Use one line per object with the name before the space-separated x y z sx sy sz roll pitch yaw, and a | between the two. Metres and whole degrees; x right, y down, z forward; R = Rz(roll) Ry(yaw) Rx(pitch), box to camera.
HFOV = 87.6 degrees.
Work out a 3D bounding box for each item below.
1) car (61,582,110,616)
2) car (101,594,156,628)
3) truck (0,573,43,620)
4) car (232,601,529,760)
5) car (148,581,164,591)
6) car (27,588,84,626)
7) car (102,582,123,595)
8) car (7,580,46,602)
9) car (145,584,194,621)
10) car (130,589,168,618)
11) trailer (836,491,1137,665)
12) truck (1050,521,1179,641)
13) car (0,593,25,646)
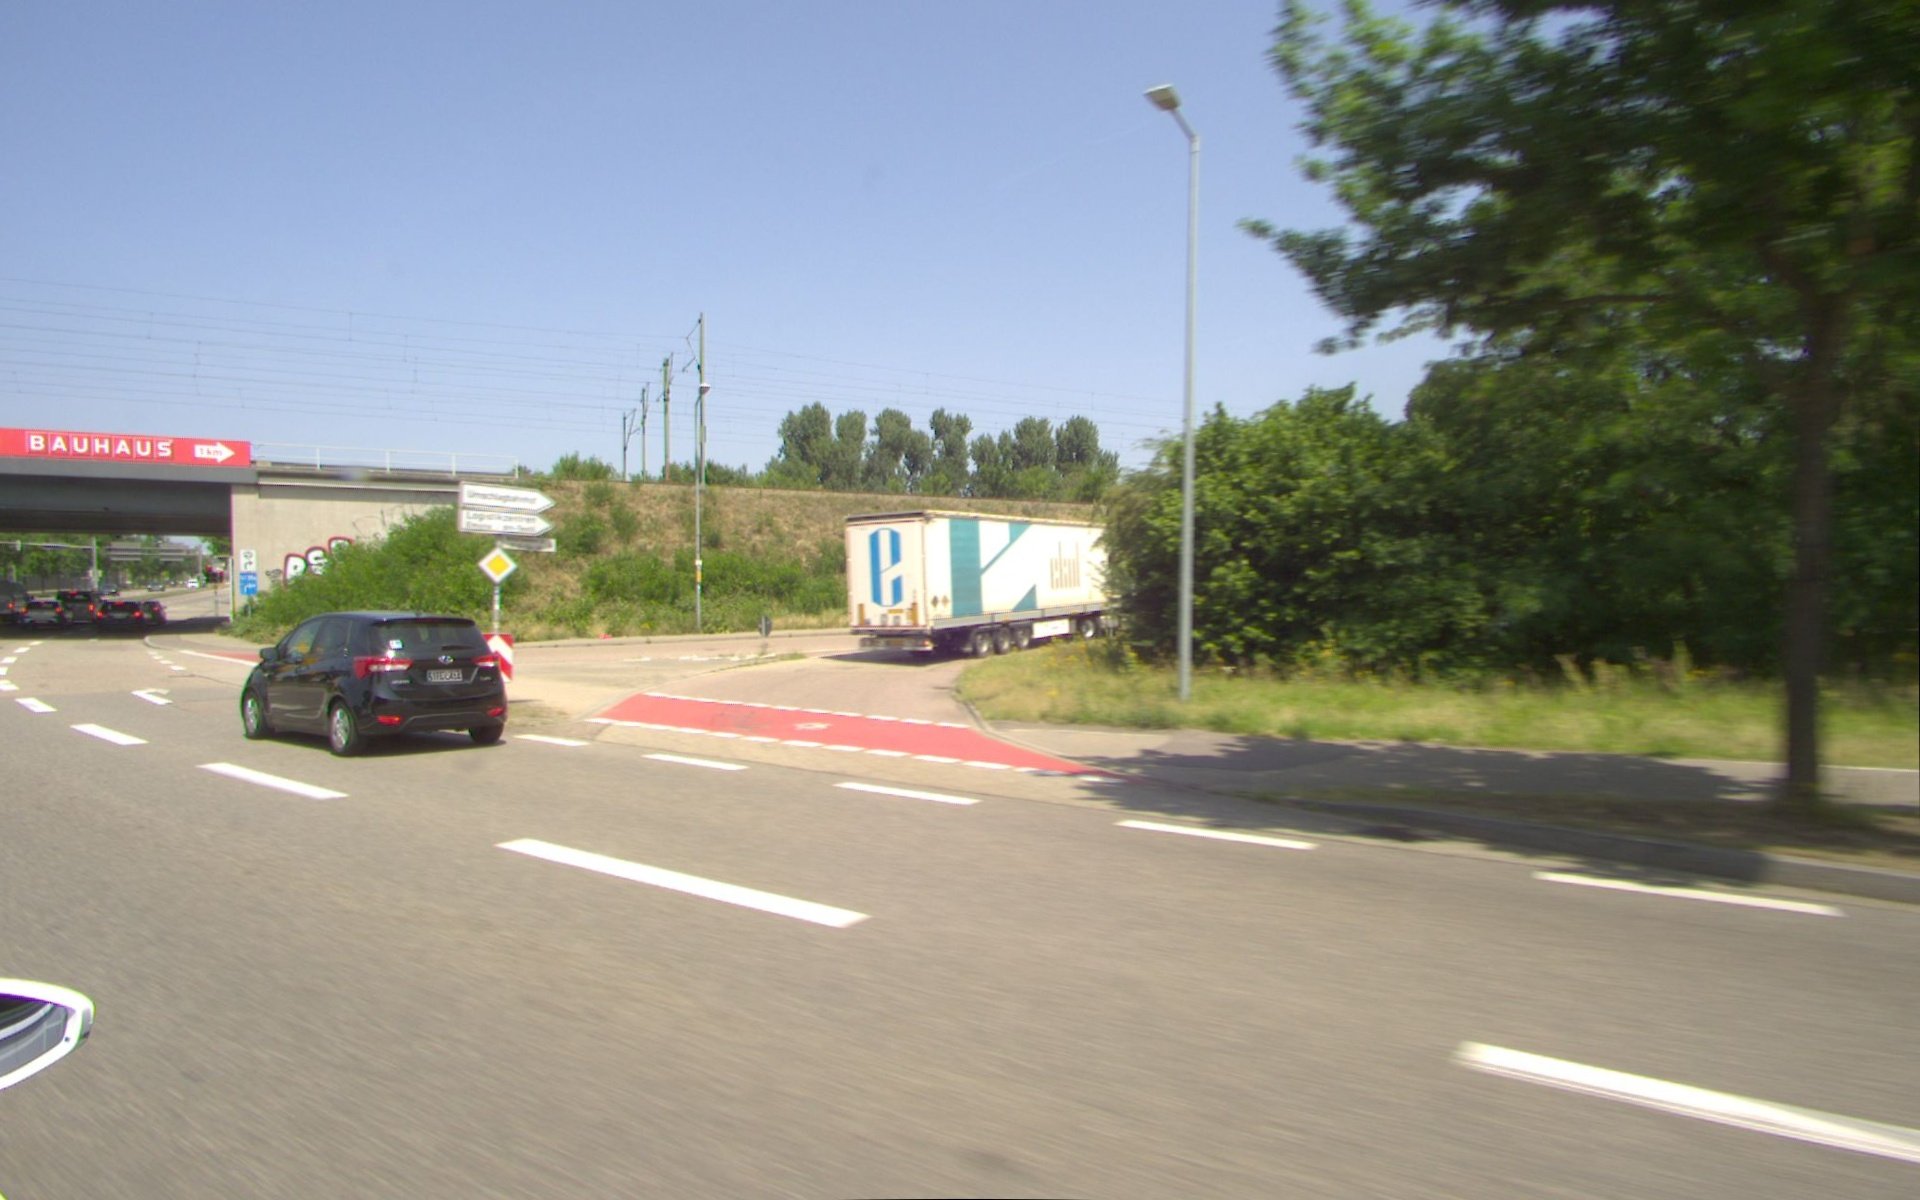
car | -52.074 -0.038 59.667 1.823 1.915 3.971 0 0 -36
car | -41.276 0.532 49.786 1.823 1.589 3.971 0 0 -36
truck | -53.462 -0.211 56.288 2.045 2.572 3.975 -2 1 -32
car | -7.215 0.846 12.336 4.024 1.620 1.761 1 0 37
car | -134.720 -2.336 167.811 1.838 1.644 3.970 0 0 -37
car | -47.433 0.349 52.578 1.823 1.915 3.971 0 0 -36
car | -110.472 -1.439 130.599 1.837 1.644 3.971 0 0 -36
car | -91.109 -0.832 97.780 1.972 2.041 3.976 -3 2 -32
car | -47.059 0.126 59.704 1.974 2.041 3.972 -3 2 -35
car | -55.532 0.259 68.590 1.823 1.915 3.971 0 0 -36
trailer | 1.684 -0.692 32.567 3.041 4.428 14.700 2 2 30
truck | 6.332 -0.784 40.351 3.039 4.428 6.048 2 2 30
car | -32.183 0.598 32.587 1.938 1.655 4.250 0 0 -35
